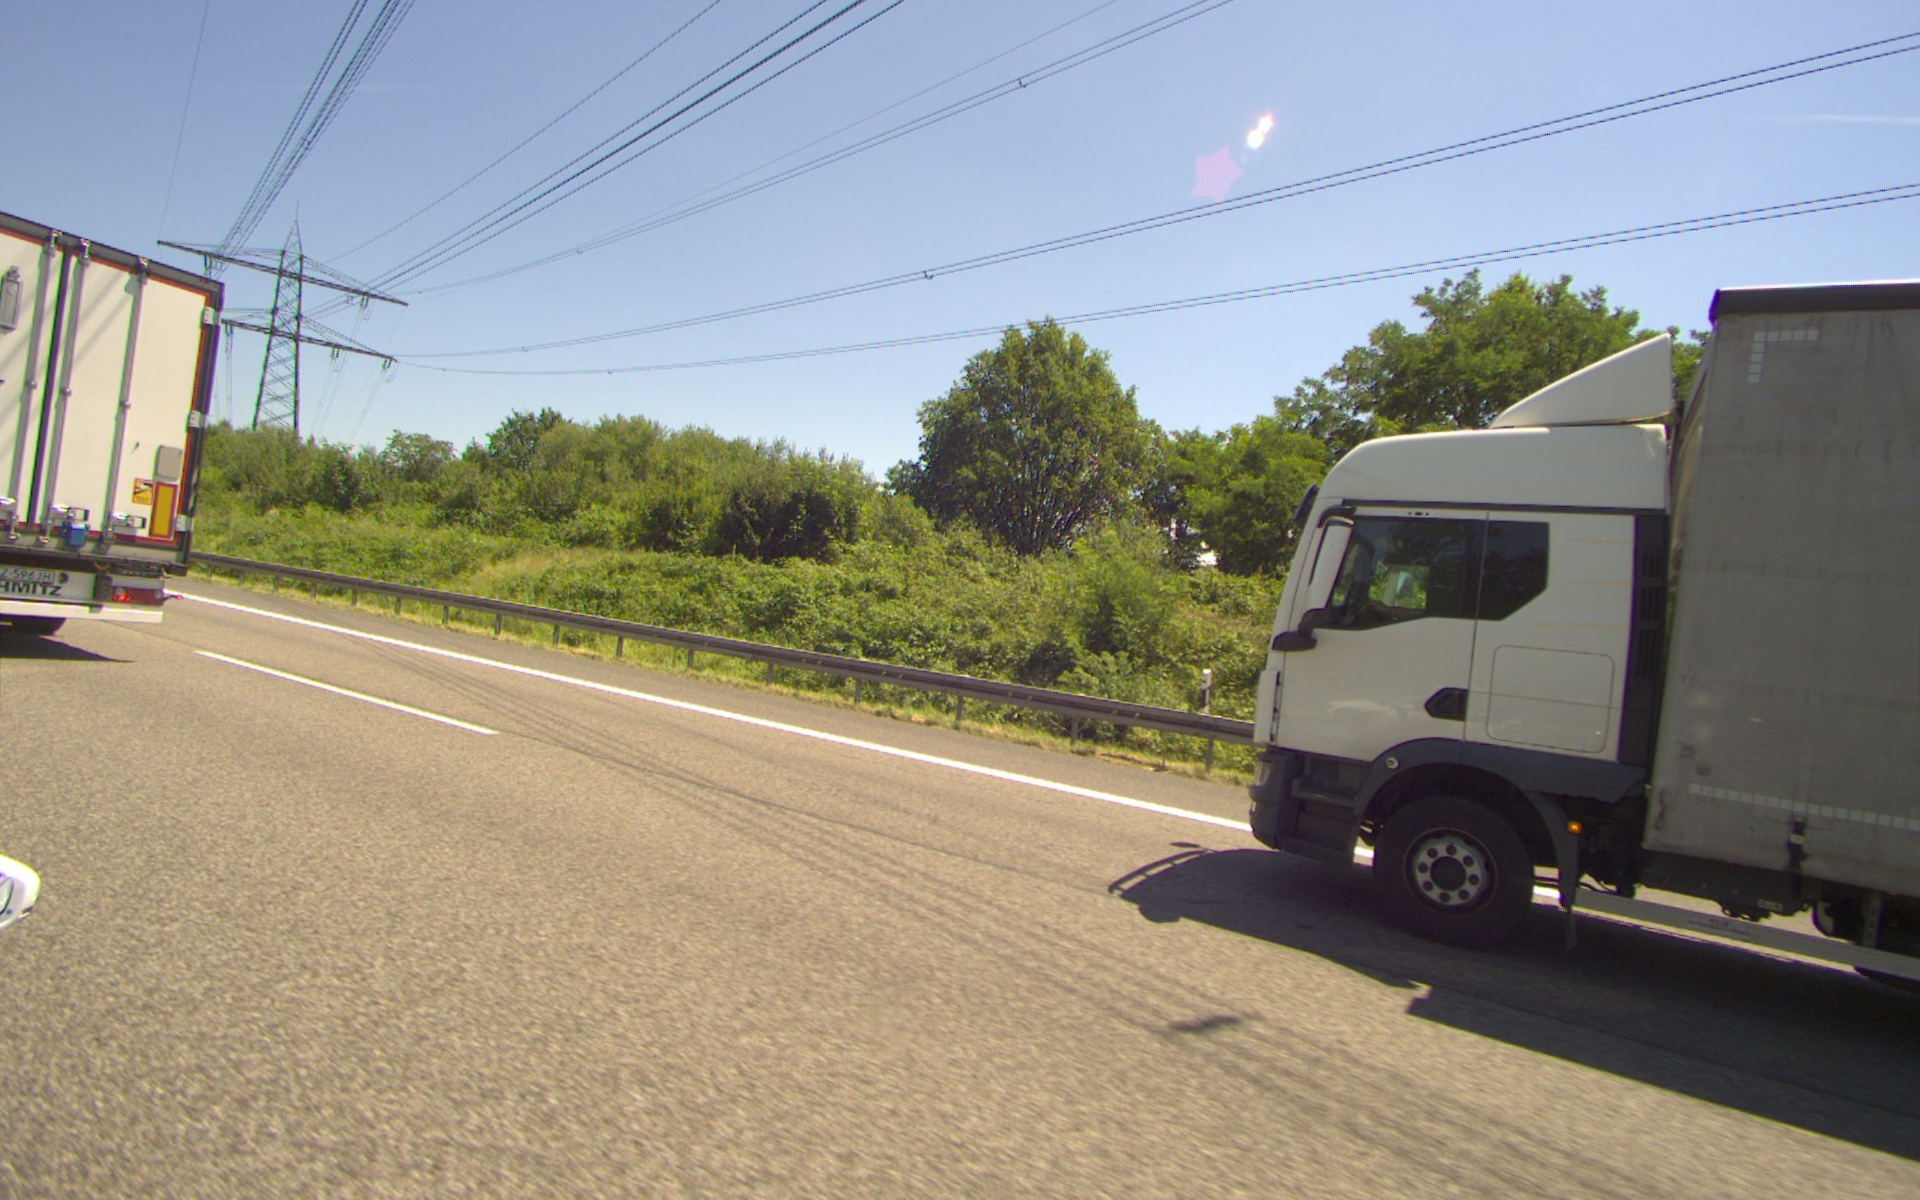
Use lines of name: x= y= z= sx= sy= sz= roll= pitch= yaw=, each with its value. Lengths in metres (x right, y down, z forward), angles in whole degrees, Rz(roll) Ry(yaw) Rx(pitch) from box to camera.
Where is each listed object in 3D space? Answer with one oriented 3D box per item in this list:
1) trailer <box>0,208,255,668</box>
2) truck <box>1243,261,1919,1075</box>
trailer: x=-15.276 y=-2.169 z=13.687 sx=15.932 sy=4.064 sz=2.943 roll=6 pitch=-2 yaw=32
truck: x=6.682 y=0.566 z=4.548 sx=9.877 sy=3.817 sz=1.985 roll=7 pitch=-1 yaw=32
